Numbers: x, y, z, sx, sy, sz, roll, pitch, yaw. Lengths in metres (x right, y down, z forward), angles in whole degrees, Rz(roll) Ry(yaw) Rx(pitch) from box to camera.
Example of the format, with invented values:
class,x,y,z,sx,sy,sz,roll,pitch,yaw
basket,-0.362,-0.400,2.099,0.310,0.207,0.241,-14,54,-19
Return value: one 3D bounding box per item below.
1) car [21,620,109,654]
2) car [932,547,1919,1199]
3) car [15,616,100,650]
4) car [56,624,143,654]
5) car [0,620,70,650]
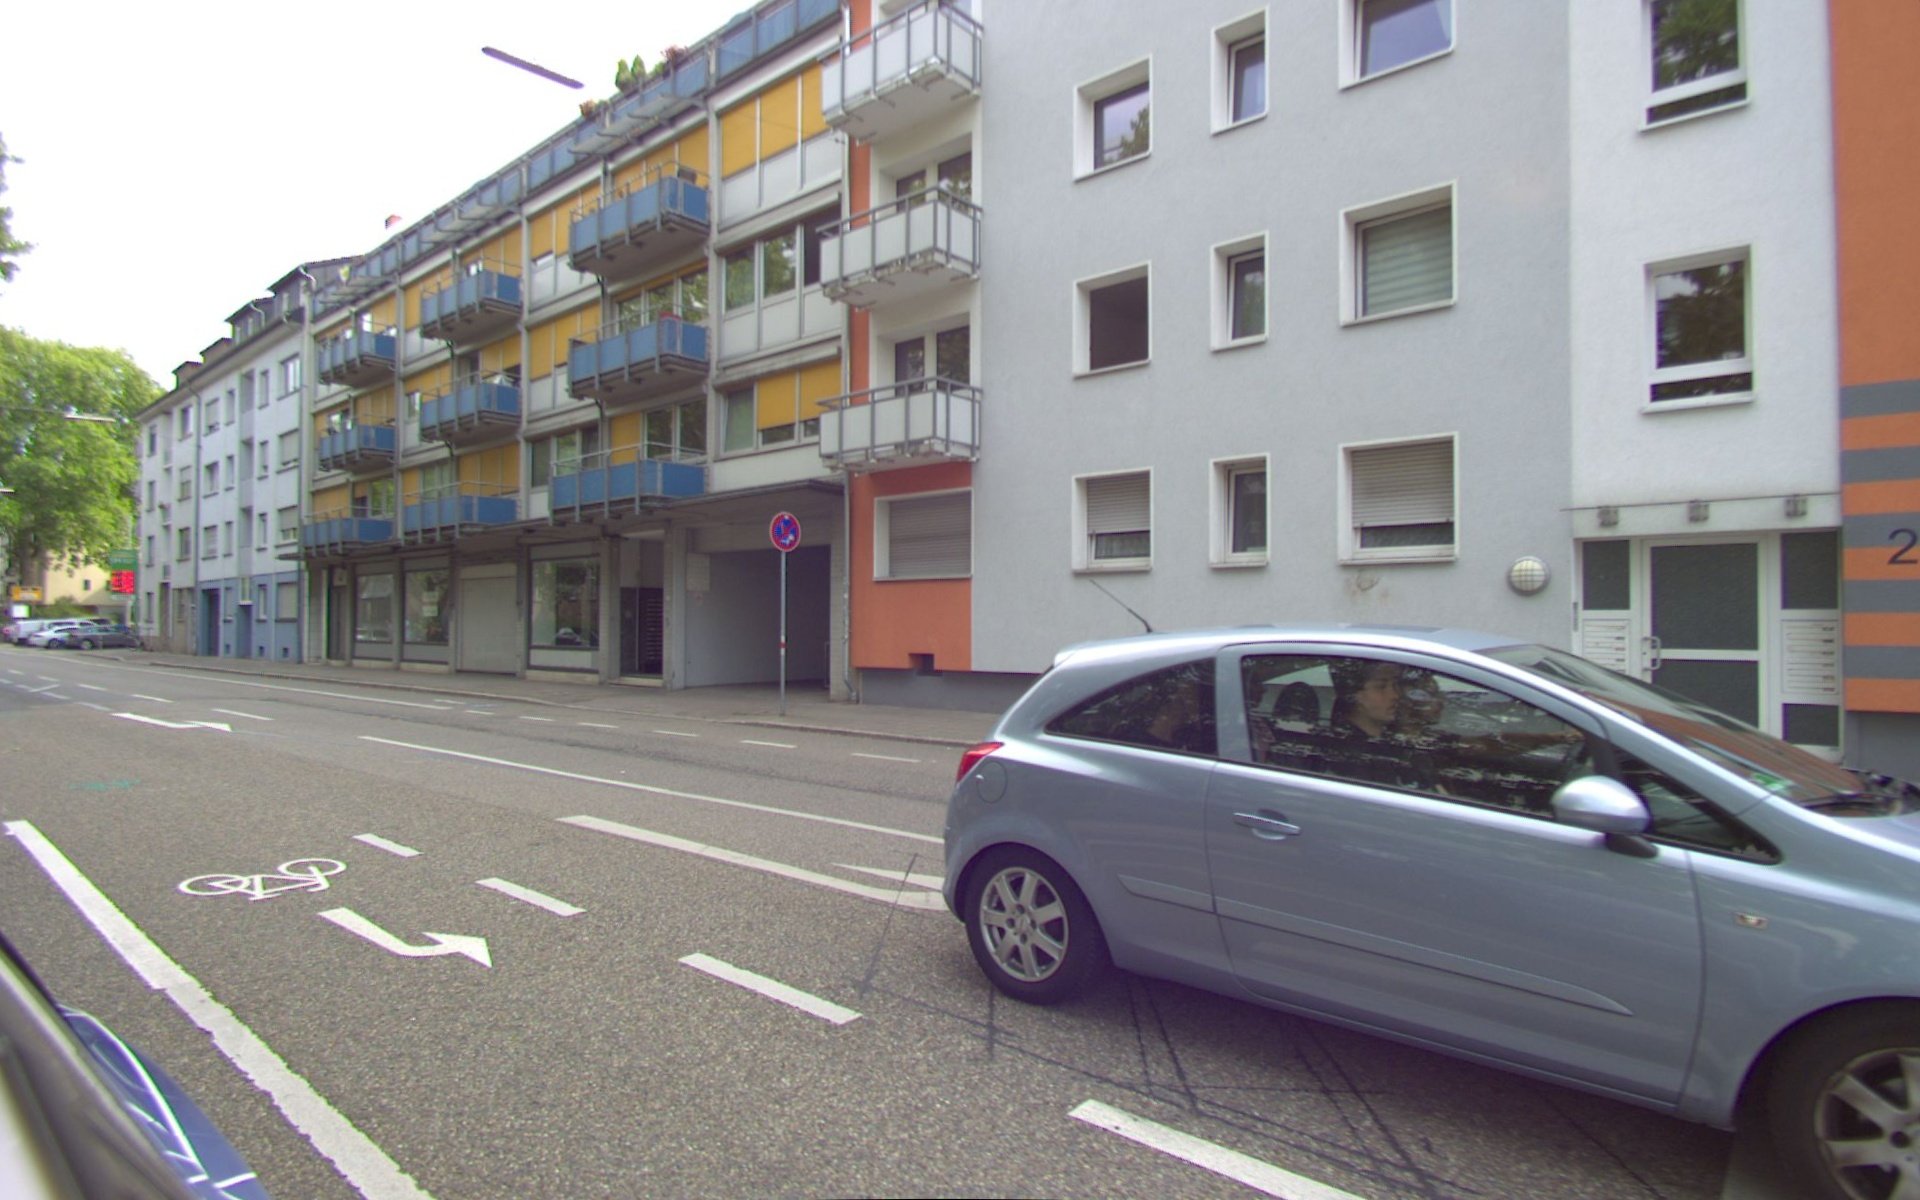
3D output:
class,x,y,z,sx,sy,sz,roll,pitch,yaw
car,-57.289,2.324,64.814,1.999,2.029,3.946,-2,0,40
car,1.865,0.647,3.377,3.817,1.450,1.651,-1,-2,41
car,-59.260,2.133,66.470,1.999,2.029,3.946,-2,0,40
car,-53.086,2.389,62.493,1.881,1.701,3.822,-2,0,40
car,-66.428,2.495,72.383,1.999,2.029,3.946,-2,0,40
